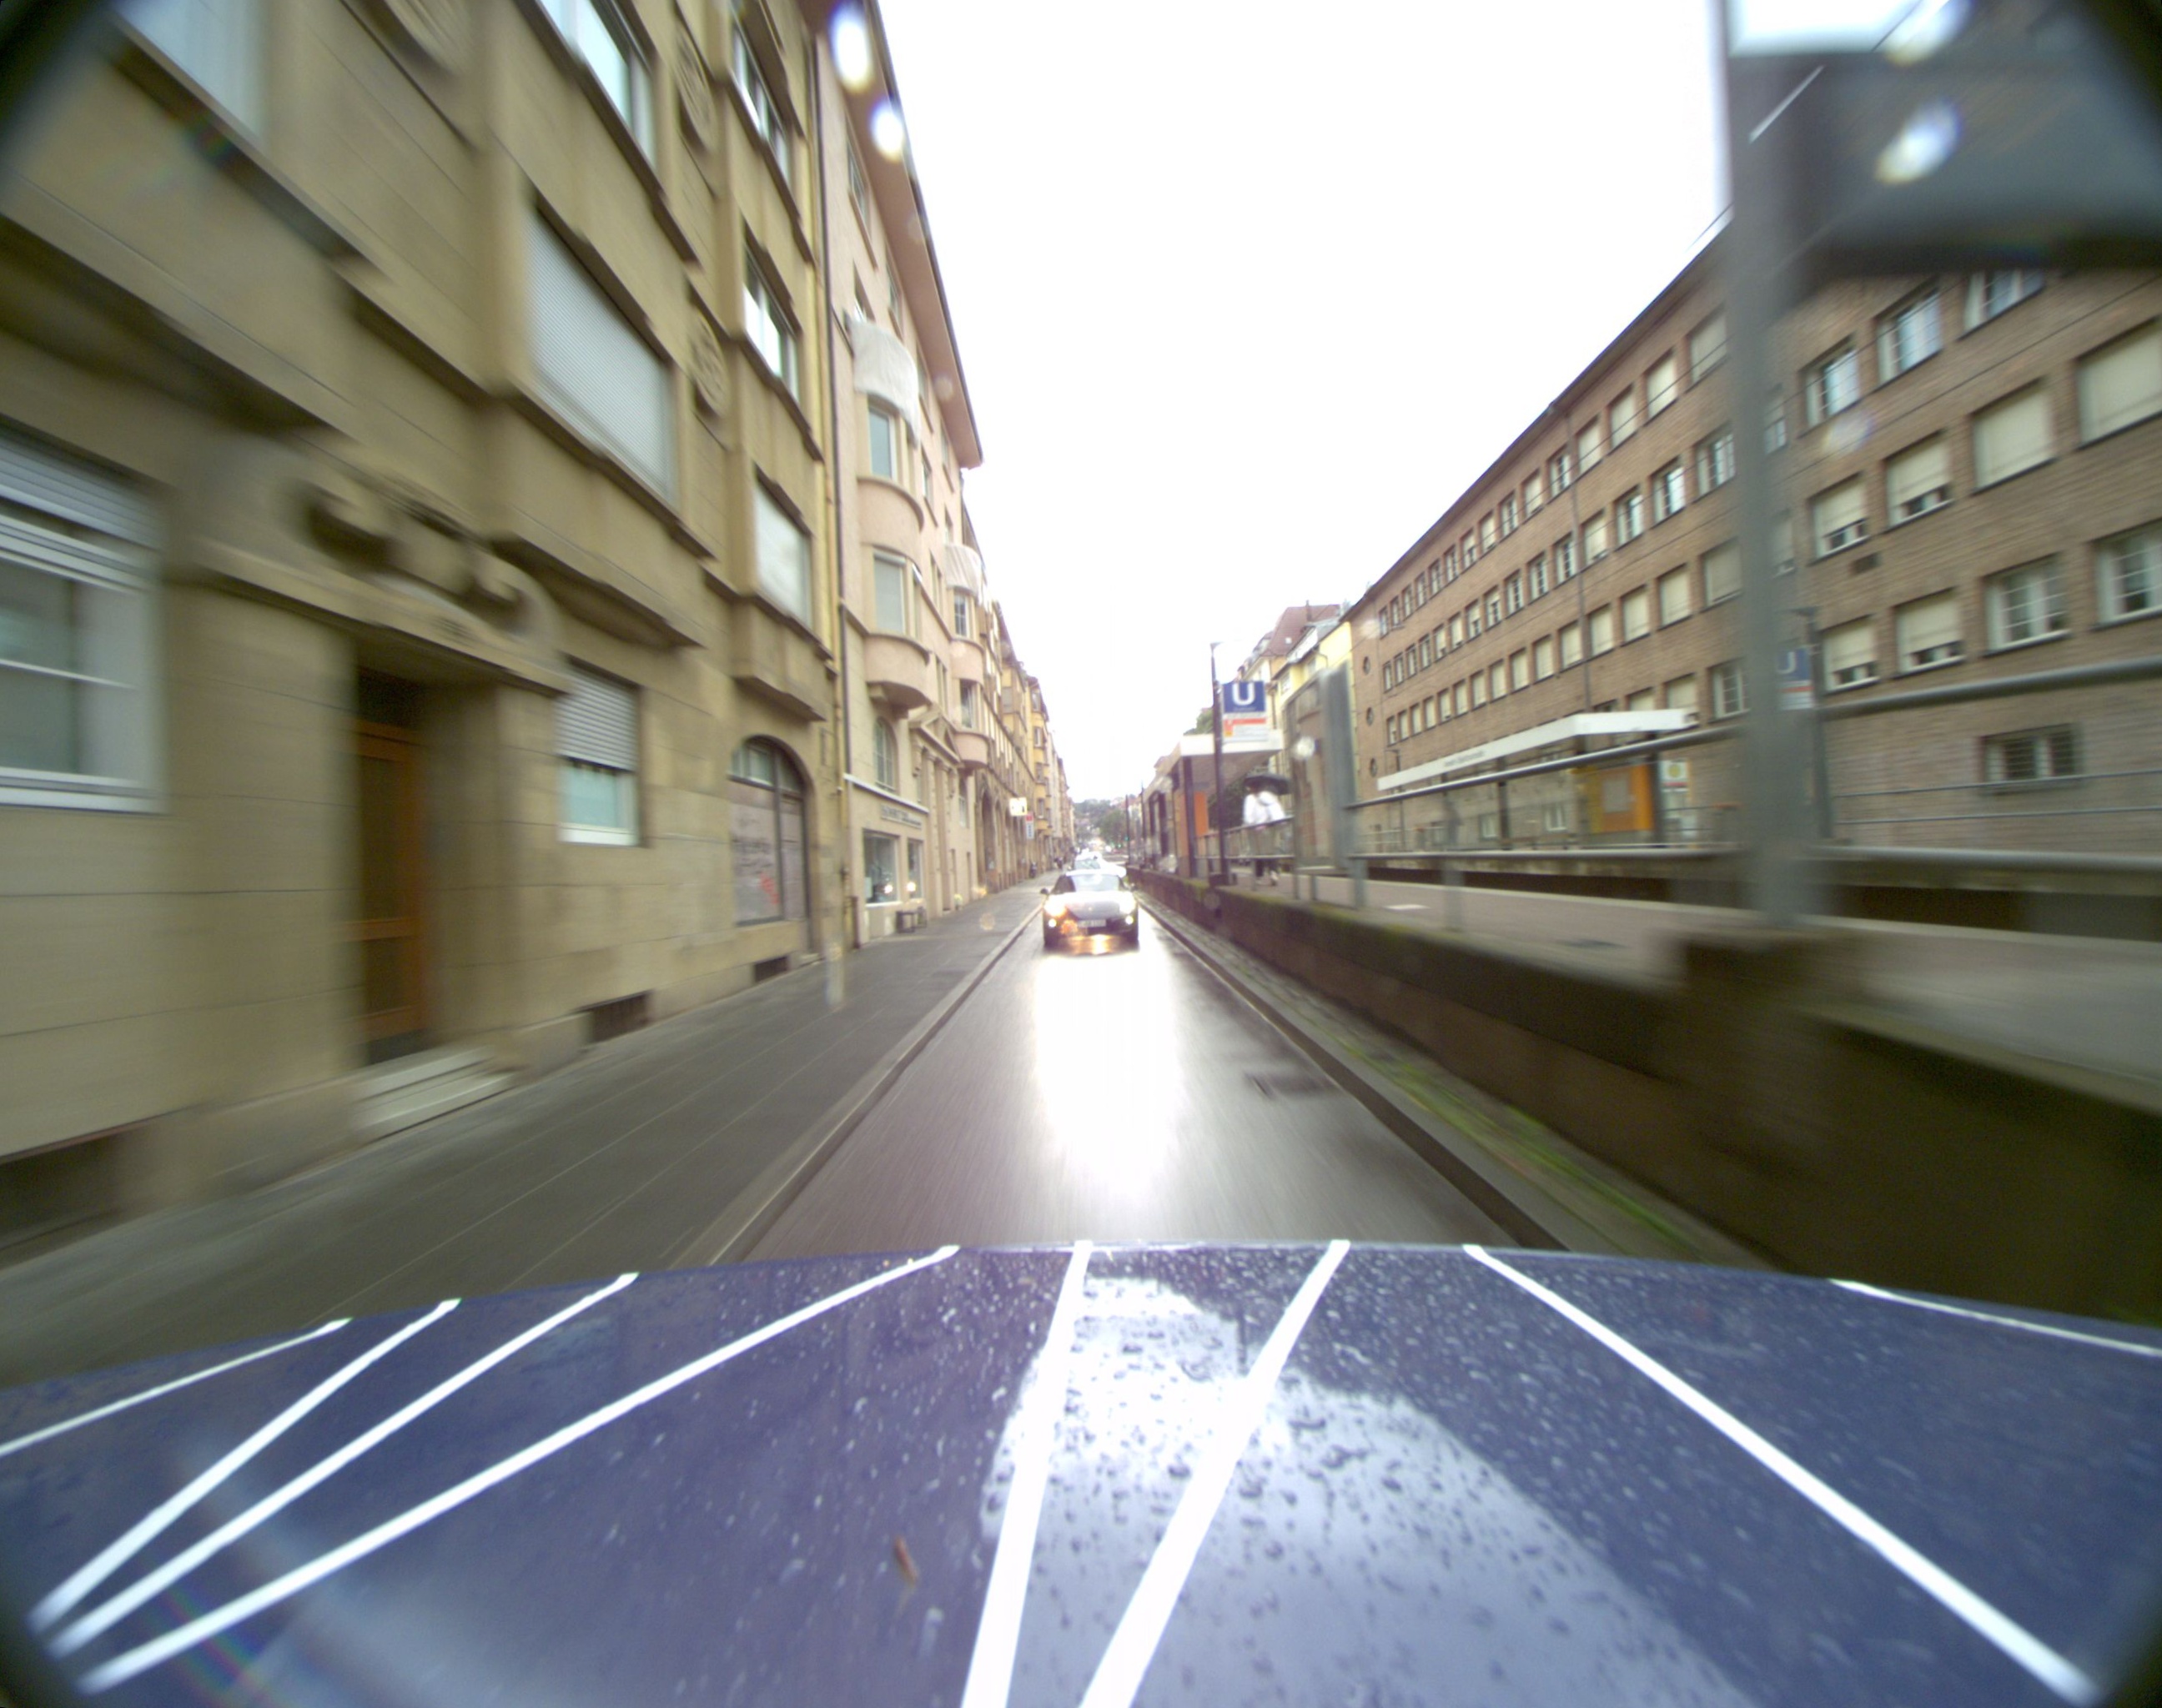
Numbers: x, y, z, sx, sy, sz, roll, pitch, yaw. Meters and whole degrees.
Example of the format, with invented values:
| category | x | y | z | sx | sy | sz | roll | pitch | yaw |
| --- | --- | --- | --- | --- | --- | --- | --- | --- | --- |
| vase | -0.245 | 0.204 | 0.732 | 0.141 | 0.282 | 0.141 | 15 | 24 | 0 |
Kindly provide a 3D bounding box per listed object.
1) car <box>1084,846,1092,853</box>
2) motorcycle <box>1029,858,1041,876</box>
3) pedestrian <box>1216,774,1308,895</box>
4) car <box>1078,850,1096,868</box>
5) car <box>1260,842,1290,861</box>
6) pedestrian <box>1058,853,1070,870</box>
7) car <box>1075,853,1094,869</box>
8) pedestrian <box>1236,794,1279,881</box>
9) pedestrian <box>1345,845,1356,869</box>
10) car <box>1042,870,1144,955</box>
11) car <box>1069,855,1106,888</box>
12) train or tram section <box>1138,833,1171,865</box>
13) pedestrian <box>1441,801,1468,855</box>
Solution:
| category | x | y | z | sx | sy | sz | roll | pitch | yaw |
| --- | --- | --- | --- | --- | --- | --- | --- | --- | --- |
| car | 1.812 | -1.138 | 200.783 | 1.998 | 1.761 | 4.000 | -3 | 1 | 3 |
| motorcycle | -3.331 | 0.913 | 55.431 | 0.692 | 1.230 | 1.779 | 3 | 0 | 1 |
| pedestrian | 2.821 | -0.294 | 11.973 | 1.116 | 1.764 | 1.111 | -3 | 1 | 1 |
| car | 0.640 | 0.544 | 81.025 | 1.741 | 1.788 | 4.265 | -3 | 0 | 2 |
| car | 15.470 | -0.204 | 60.654 | 1.648 | 1.458 | 3.111 | -3 | 0 | 2 |
| pedestrian | -1.742 | 0.825 | 79.607 | 1.125 | 1.703 | 1.101 | -3 | 1 | 1 |
| car | 0.391 | 0.638 | 72.960 | 1.633 | 1.443 | 4.000 | -3 | 0 | 2 |
| pedestrian | 3.709 | -0.344 | 15.994 | 0.645 | 1.764 | 0.710 | -3 | 1 | 1 |
| pedestrian | 18.494 | 0.209 | 52.157 | 0.550 | 1.644 | 0.542 | -1 | 1 | 2 |
| car | 0.291 | 1.056 | 15.169 | 1.704 | 1.280 | 4.196 | -3 | 0 | 2 |
| car | 0.328 | 0.820 | 36.538 | 1.689 | 1.451 | 3.299 | -1 | 0 | 1 |
| train or tram section | 10.150 | -0.698 | 106.890 | 2.721 | 3.898 | 19.860 | -3 | 1 | 0 |
| pedestrian | 11.857 | -0.821 | 24.112 | 0.588 | 1.699 | 0.491 | -1 | 1 | 0 |
